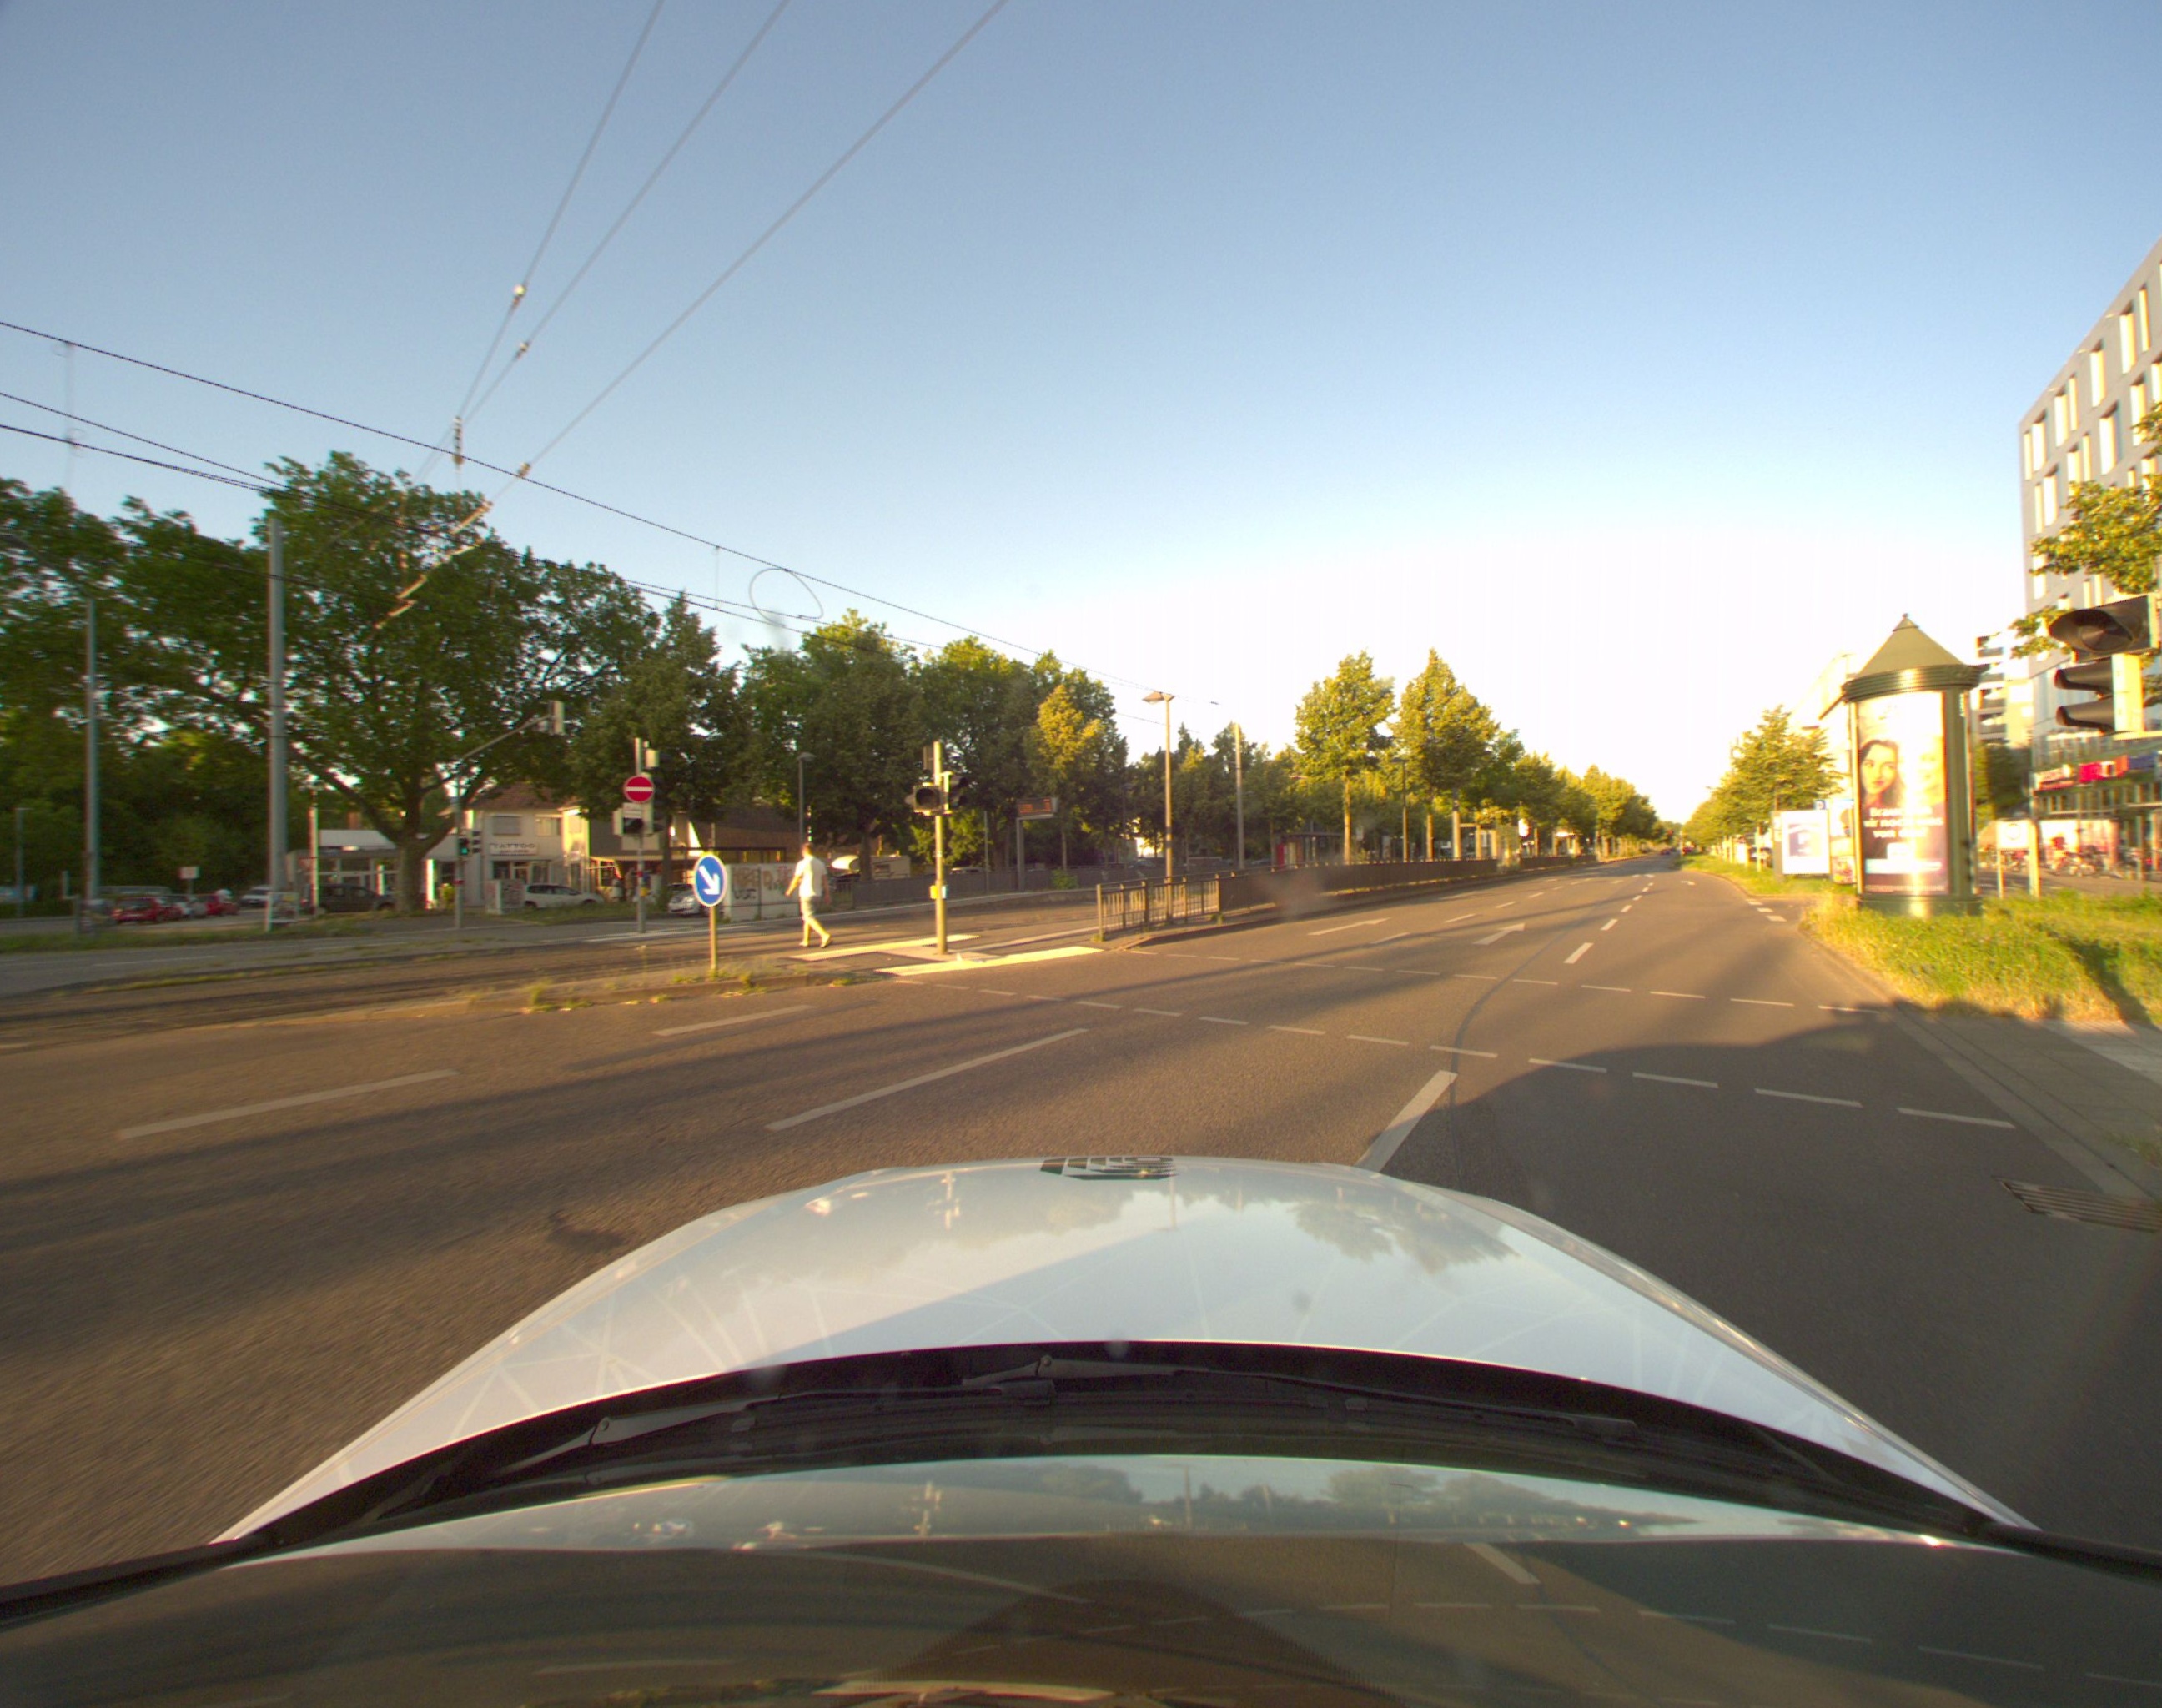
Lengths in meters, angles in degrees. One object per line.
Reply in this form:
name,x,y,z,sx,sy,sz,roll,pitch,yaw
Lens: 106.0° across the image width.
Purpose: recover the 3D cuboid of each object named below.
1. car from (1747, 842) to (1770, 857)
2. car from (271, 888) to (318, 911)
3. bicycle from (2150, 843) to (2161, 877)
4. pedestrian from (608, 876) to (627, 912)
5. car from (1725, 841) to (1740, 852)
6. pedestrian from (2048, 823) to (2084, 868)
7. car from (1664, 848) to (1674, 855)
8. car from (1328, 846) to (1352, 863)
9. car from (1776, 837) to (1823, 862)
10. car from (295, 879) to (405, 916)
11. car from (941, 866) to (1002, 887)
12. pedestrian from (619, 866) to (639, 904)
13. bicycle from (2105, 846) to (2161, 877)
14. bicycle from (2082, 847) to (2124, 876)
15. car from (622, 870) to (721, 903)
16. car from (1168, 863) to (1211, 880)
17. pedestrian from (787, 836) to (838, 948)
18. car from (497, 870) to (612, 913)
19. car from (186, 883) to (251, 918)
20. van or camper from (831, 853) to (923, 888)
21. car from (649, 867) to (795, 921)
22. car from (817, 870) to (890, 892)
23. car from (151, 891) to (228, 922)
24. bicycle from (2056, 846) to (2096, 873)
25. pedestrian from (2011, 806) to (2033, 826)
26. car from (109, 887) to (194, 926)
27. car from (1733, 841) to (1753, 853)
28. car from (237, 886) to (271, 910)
car,78.660,-0.520,94.581,2.010,1.696,4.425,1,1,40
car,-60.497,3.500,62.706,1.929,1.603,3.958,-1,-1,-33
bicycle,35.929,0.185,26.811,2.134,1.068,0.628,-1,-1,-44
pedestrian,-21.880,1.885,38.476,0.722,1.639,0.889,-1,-1,-27
car,121.870,-1.452,152.336,1.974,2.014,4.026,-2,0,36
pedestrian,47.250,-0.387,39.085,0.804,2.090,1.120,-3,-2,39
car,139.377,-0.571,192.989,1.679,1.596,4.025,-3,-2,36
car,34.501,0.077,108.313,1.758,2.184,4.025,-2,0,38
car,50.887,-0.310,57.749,1.974,1.696,4.623,1,1,35
car,-40.932,2.395,45.661,1.924,1.835,4.418,-2,-1,44
car,-8.213,1.676,61.168,1.974,1.465,4.270,-2,-1,41
pedestrian,-20.909,1.425,37.670,0.722,1.754,0.889,-1,-1,-27
bicycle,37.839,0.252,29.067,0.628,1.068,2.134,-2,0,23
bicycle,39.618,0.274,31.587,0.628,1.068,2.135,-2,-1,42
car,-21.636,1.697,43.147,1.974,1.577,4.270,-2,-1,41
car,10.339,1.652,77.356,1.974,1.465,4.270,-2,-1,41
pedestrian,-4.469,0.612,13.520,0.764,1.791,0.796,0,-2,-21
car,-25.265,1.738,39.179,1.974,1.846,4.270,-2,-1,41
car,-54.432,2.889,51.472,1.929,2.047,3.958,-1,-1,-33
van or camper,-15.616,1.235,62.657,2.235,2.410,6.625,-3,-2,43
car,-13.046,1.398,29.857,1.837,1.728,4.578,-2,-1,35
car,-14.780,1.739,53.065,1.902,1.300,4.270,-2,-1,41
car,-52.404,3.034,47.973,2.007,1.574,3.960,-1,-1,-31
bicycle,41.141,0.204,33.697,0.628,1.068,2.135,-2,-1,40
pedestrian,72.186,-2.898,62.479,1.115,1.455,0.807,-1,-2,-27
car,-50.510,2.797,44.360,1.880,1.875,3.837,-1,-1,-30
car,96.922,-1.051,119.285,1.754,1.636,3.584,-2,0,32
car,-73.087,3.855,72.043,2.012,2.014,3.950,-1,-1,-44
